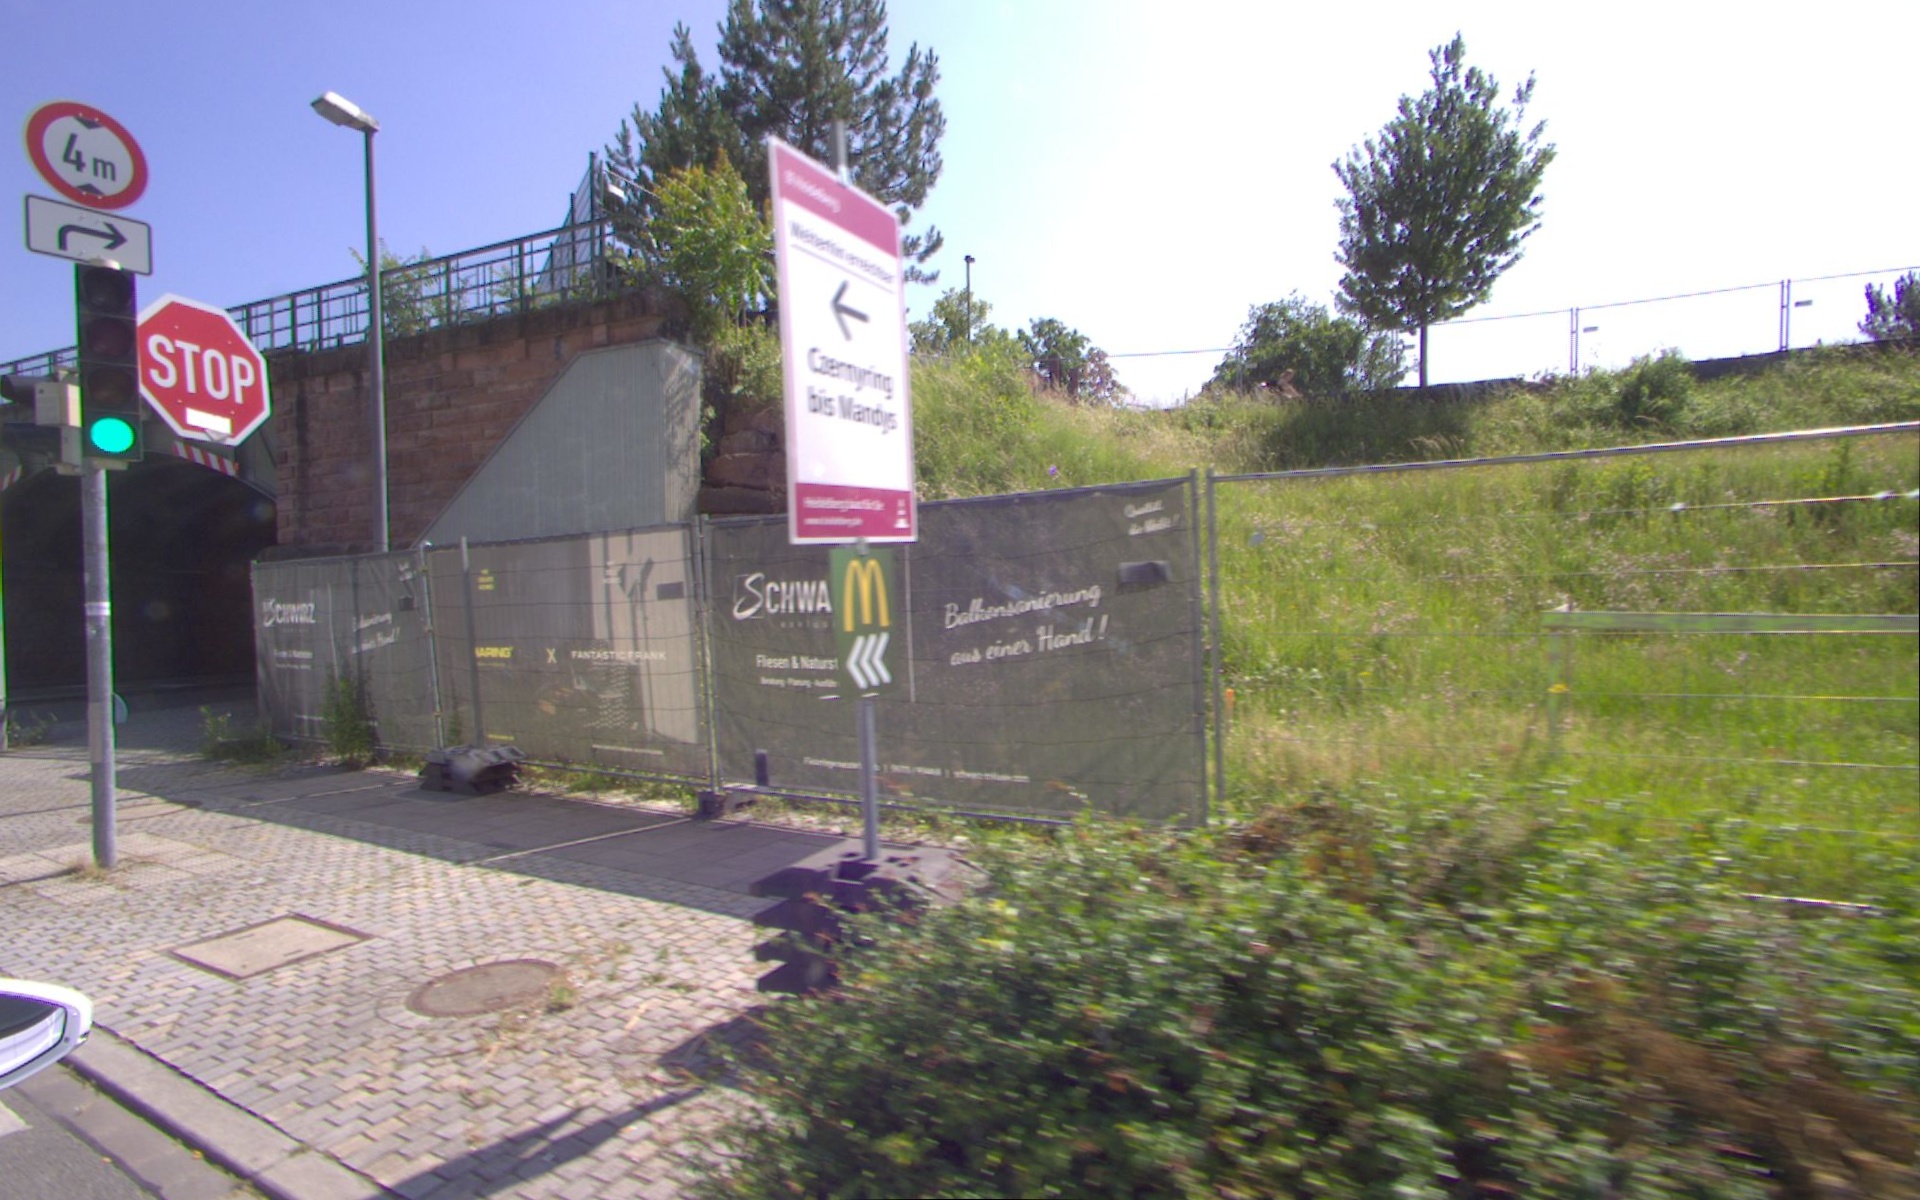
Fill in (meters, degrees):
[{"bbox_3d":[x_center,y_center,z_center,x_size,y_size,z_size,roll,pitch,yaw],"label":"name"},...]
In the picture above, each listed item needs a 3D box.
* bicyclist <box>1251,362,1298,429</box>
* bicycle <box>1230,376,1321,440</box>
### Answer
[{"bbox_3d":[8.106,-5.256,25.823,1.045,1.406,0.951,-1,-2,23],"label":"bicyclist"},{"bbox_3d":[8.138,-4.926,25.805,2.138,1.229,0.935,-1,-2,24],"label":"bicycle"}]
